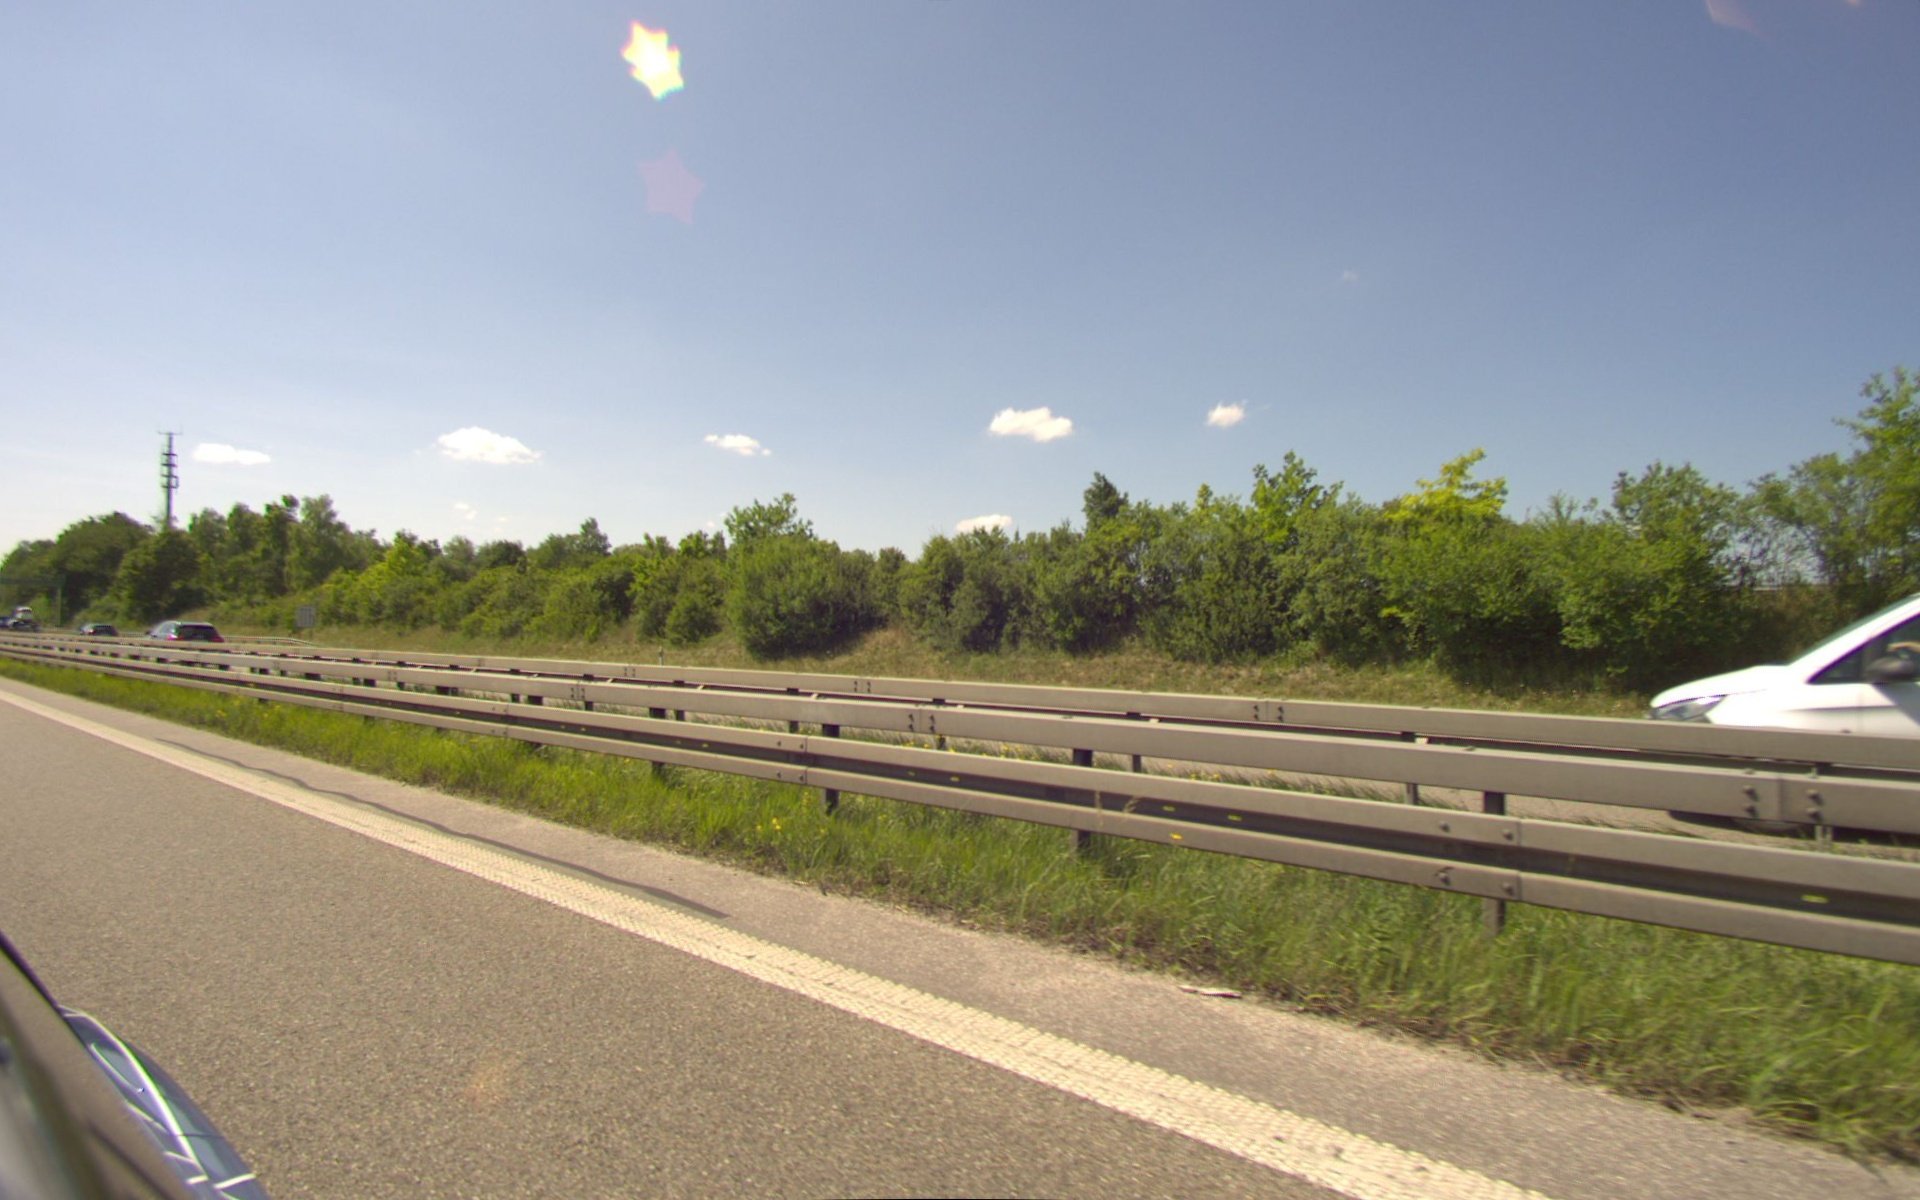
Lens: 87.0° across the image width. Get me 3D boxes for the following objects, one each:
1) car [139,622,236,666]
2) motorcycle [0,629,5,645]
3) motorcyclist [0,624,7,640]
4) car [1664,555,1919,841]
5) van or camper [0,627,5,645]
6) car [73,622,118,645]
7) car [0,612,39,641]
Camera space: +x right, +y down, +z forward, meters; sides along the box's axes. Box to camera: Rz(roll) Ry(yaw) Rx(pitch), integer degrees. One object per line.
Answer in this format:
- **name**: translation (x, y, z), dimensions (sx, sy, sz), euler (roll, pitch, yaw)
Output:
- **car**: translation (-27.555, 1.520, 36.064), dimensions (4.202, 1.450, 1.973), euler (-1, -2, 41)
- **motorcycle**: translation (-65.690, 2.533, 69.006), dimensions (1.880, 1.084, 0.657), euler (-1, -3, 41)
- **motorcyclist**: translation (-65.720, 2.206, 69.102), dimensions (0.810, 1.084, 0.866), euler (-1, -4, 41)
- **car**: translation (8.002, 0.689, 6.556), dimensions (5.513, 1.887, 1.901), euler (-1, -4, 40)
- **van or camper**: translation (-128.845, 4.755, 134.624), dimensions (6.237, 2.410, 1.973), euler (-2, -3, 41)
- **car**: translation (-58.398, 2.251, 68.377), dimensions (4.231, 1.470, 1.724), euler (-1, -1, 41)
- **car**: translation (-72.877, 2.044, 78.242), dimensions (4.298, 2.125, 1.973), euler (-1, -1, 40)
